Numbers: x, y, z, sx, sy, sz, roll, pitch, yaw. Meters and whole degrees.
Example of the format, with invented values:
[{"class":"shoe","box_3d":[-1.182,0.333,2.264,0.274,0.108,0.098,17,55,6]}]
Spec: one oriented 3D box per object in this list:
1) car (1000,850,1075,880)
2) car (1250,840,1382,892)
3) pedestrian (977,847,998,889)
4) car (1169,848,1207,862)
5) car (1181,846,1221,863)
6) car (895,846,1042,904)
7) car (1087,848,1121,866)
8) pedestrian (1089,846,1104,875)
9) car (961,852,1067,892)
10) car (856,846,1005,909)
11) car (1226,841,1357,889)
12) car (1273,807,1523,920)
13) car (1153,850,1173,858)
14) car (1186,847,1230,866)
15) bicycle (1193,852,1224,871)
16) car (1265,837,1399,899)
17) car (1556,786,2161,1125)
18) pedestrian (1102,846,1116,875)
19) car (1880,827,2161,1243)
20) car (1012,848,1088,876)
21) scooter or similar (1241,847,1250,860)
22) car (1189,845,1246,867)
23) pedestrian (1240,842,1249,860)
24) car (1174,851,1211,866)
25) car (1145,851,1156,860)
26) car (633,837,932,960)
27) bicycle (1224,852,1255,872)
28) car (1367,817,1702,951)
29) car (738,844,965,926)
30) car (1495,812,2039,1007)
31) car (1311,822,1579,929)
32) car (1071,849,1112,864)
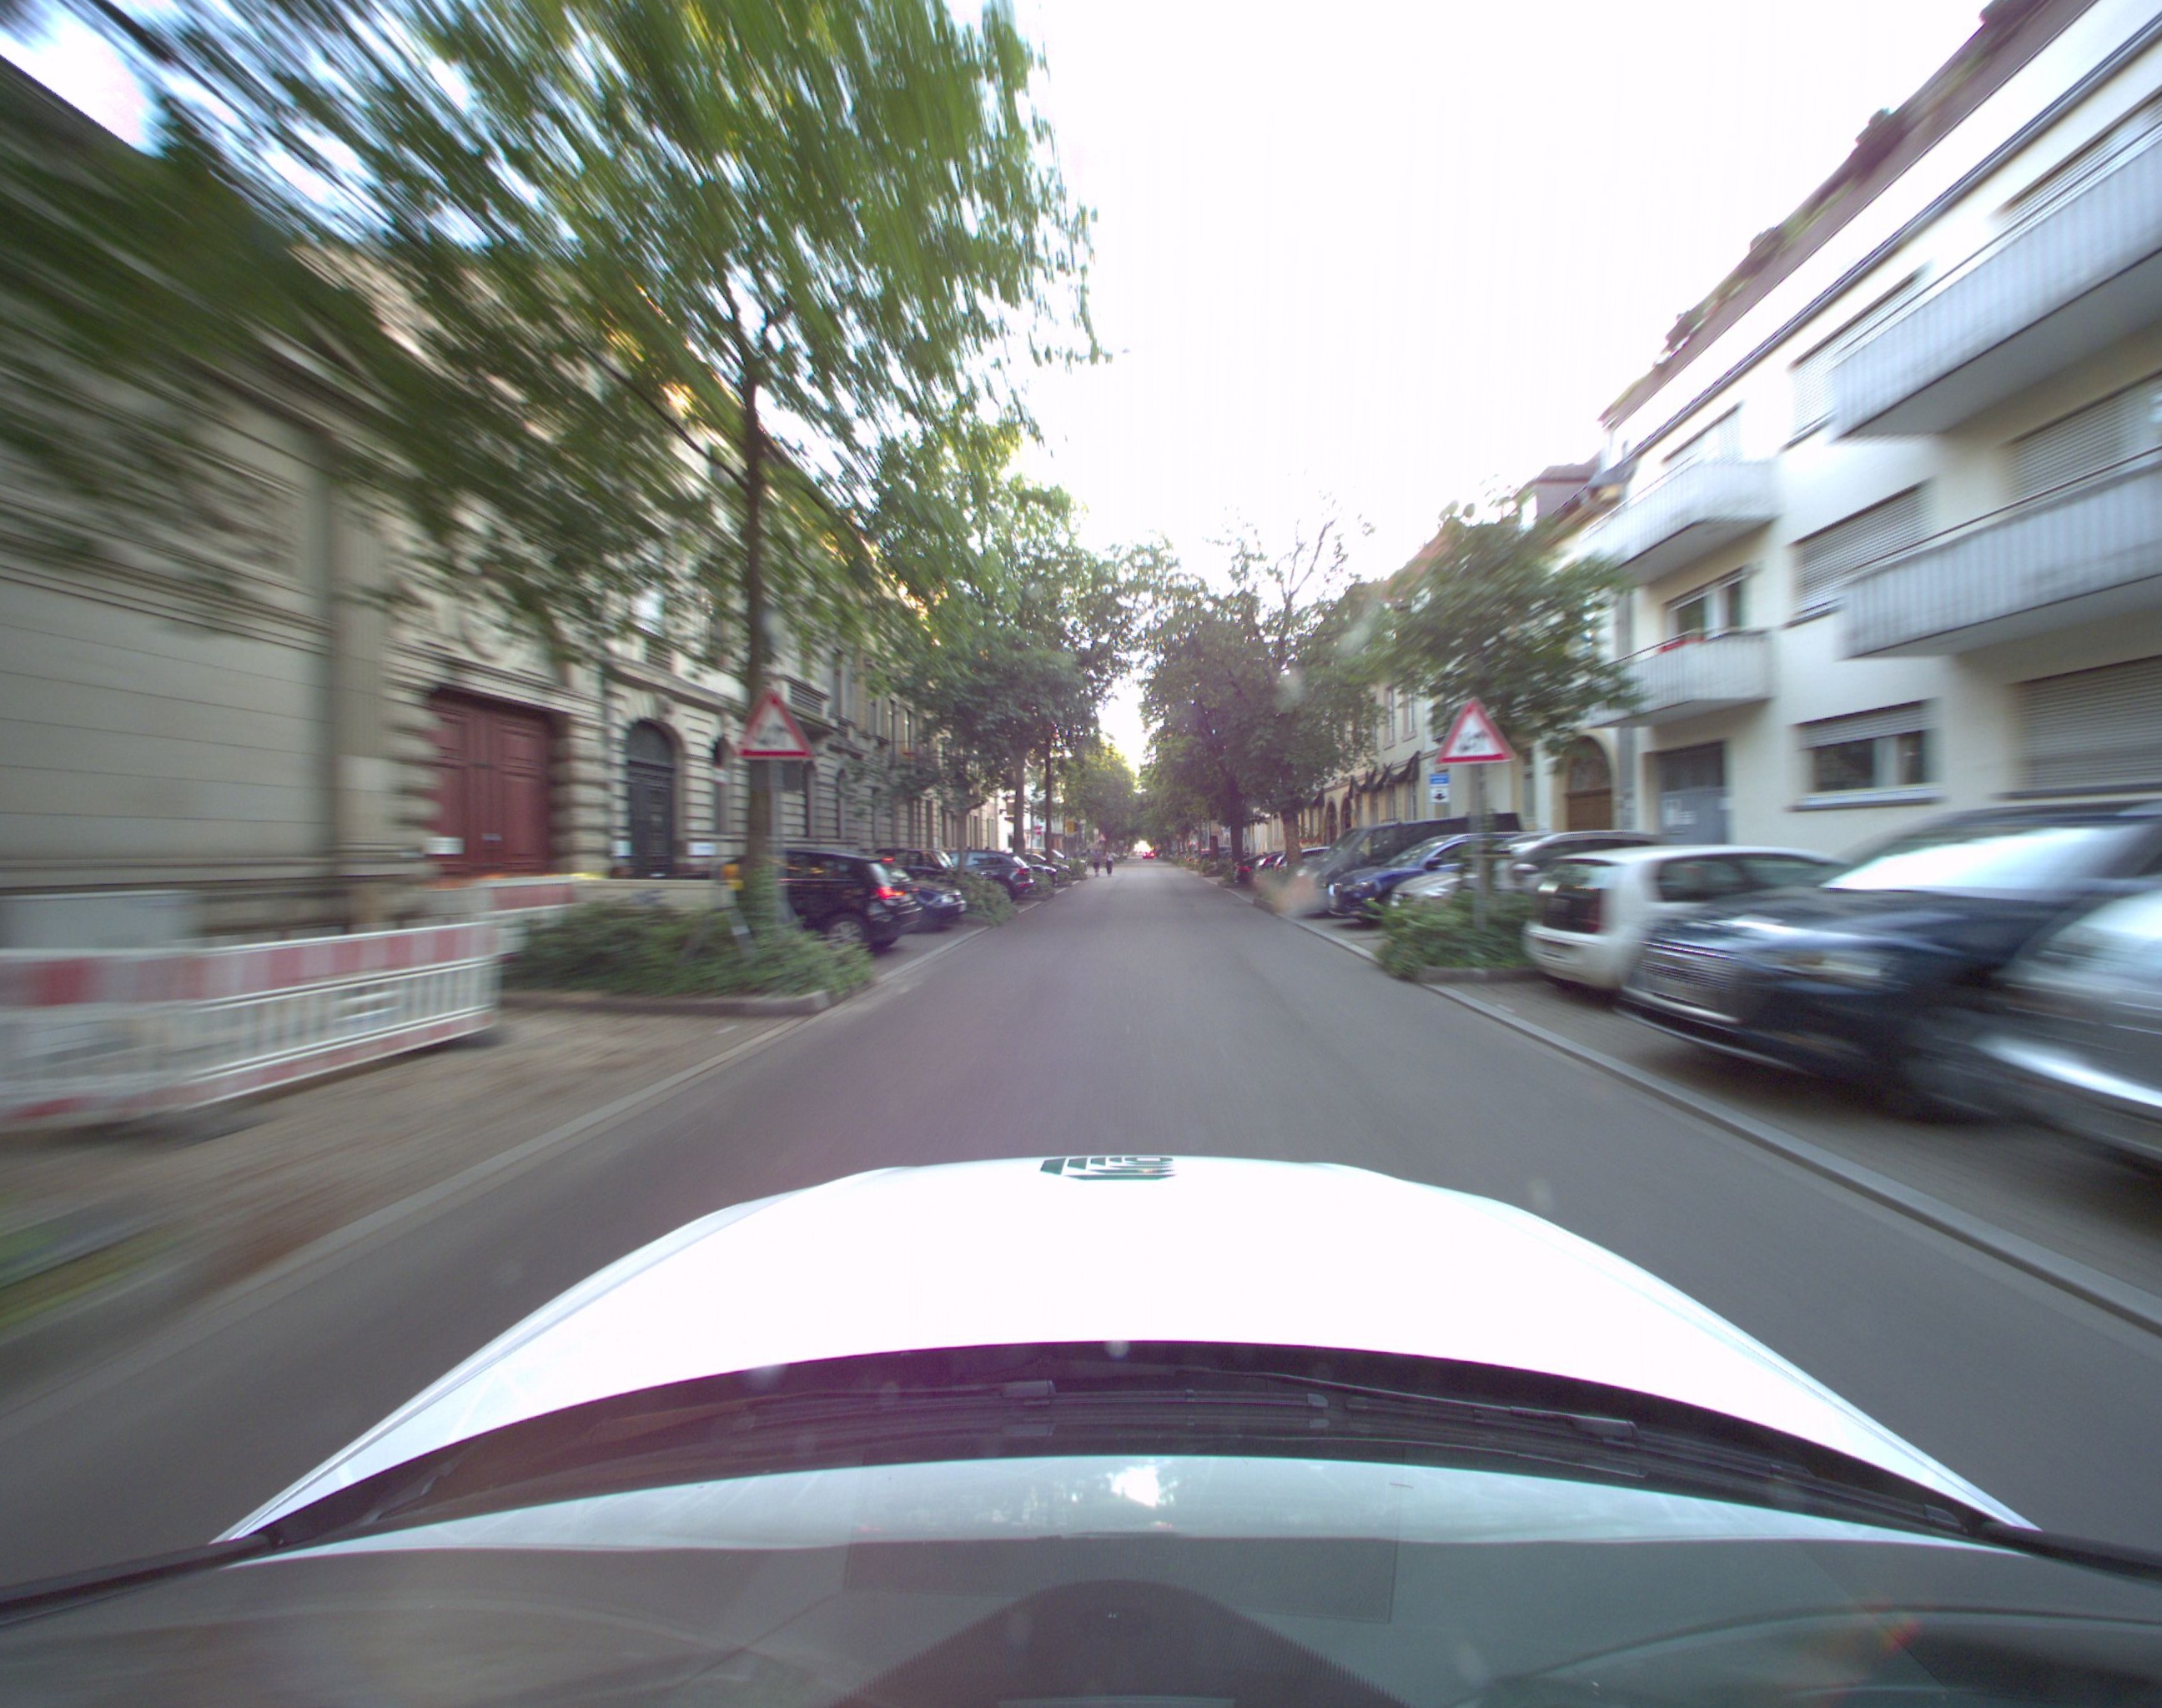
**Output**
[{"class":"car","box_3d":[-2.210,0.542,42.152,3.676,1.458,1.874,0,1,3]},{"class":"car","box_3d":[8.023,0.397,28.125,3.971,1.437,1.928,-5,0,2]},{"class":"pedestrian","box_3d":[-3.925,0.581,34.186,0.730,1.739,0.673,0,0,10]},{"class":"car","box_3d":[13.708,0.113,104.472,4.694,1.710,1.953,-1,1,5]},{"class":"car","box_3d":[11.419,0.062,77.706,3.470,1.452,1.900,-2,0,2]},{"class":"car","box_3d":[-3.426,0.613,25.298,4.182,1.672,1.910,0,1,4]},{"class":"car","box_3d":[3.185,0.406,113.641,4.661,2.478,2.002,-1,-1,4]},{"class":"pedestrian","box_3d":[0.931,0.409,49.478,0.791,1.737,0.832,-2,0,3]},{"class":"car","box_3d":[-2.590,0.712,32.308,3.928,1.532,1.909,0,0,3]},{"class":"car","box_3d":[-4.176,0.634,22.978,3.785,1.672,1.716,0,1,3]},{"class":"car","box_3d":[7.855,0.405,30.671,4.384,1.393,1.886,-5,0,2]},{"class":"car","box_3d":[6.871,0.210,18.115,4.669,2.011,2.039,-5,0,3]},{"class":"car","box_3d":[17.747,-0.031,175.869,4.249,1.565,1.965,-3,-1,4]},{"class":"car","box_3d":[10.729,0.208,69.156,3.470,1.452,1.900,-2,0,2]},{"class":"bicycle","box_3d":[8.520,0.496,54.420,1.835,1.135,0.743,-2,0,-6]},{"class":"car","box_3d":[7.788,0.430,25.533,3.663,1.578,1.716,-5,0,4]},{"class":"car","box_3d":[5.915,0.453,5.154,4.571,1.578,1.946,-5,0,3]},{"class":"pedestrian","box_3d":[1.703,0.395,49.326,0.791,1.670,0.832,-2,0,3]},{"class":"car","box_3d":[5.862,0.525,2.866,4.054,1.429,1.821,-5,0,6]},{"class":"car","box_3d":[-1.851,0.472,49.562,4.405,1.651,1.875,0,1,5]},{"class":"scooter or similar","box_3d":[14.496,-0.050,71.722,0.652,1.153,0.832,-2,0,5]},{"class":"car","box_3d":[11.000,0.144,66.023,4.404,1.656,1.902,-2,0,5]},{"class":"pedestrian","box_3d":[14.538,-0.254,72.301,0.652,1.536,0.832,-2,0,5]},{"class":"car","box_3d":[12.402,0.476,90.599,3.863,1.439,1.848,-2,0,1]},{"class":"car","box_3d":[13.344,0.273,157.146,1.947,1.565,4.287,-3,-1,4]},{"class":"car","box_3d":[-4.574,0.642,12.847,3.947,1.596,1.783,3,0,4]},{"class":"bicycle","box_3d":[10.033,0.504,51.703,1.789,1.128,0.663,-2,0,-2]},{"class":"car","box_3d":[6.668,0.430,12.345,3.949,1.578,1.853,-5,0,3]},{"class":"car","box_3d":[-4.486,0.561,16.295,3.946,1.387,1.767,2,1,5]},{"class":"car","box_3d":[6.434,0.493,8.004,3.777,1.423,1.699,-5,0,3]},{"class":"car","box_3d":[6.742,0.382,15.467,4.139,1.578,1.971,-5,0,2]},{"class":"car","box_3d":[1.098,0.239,84.471,4.110,1.486,1.931,0,0,3]}]
